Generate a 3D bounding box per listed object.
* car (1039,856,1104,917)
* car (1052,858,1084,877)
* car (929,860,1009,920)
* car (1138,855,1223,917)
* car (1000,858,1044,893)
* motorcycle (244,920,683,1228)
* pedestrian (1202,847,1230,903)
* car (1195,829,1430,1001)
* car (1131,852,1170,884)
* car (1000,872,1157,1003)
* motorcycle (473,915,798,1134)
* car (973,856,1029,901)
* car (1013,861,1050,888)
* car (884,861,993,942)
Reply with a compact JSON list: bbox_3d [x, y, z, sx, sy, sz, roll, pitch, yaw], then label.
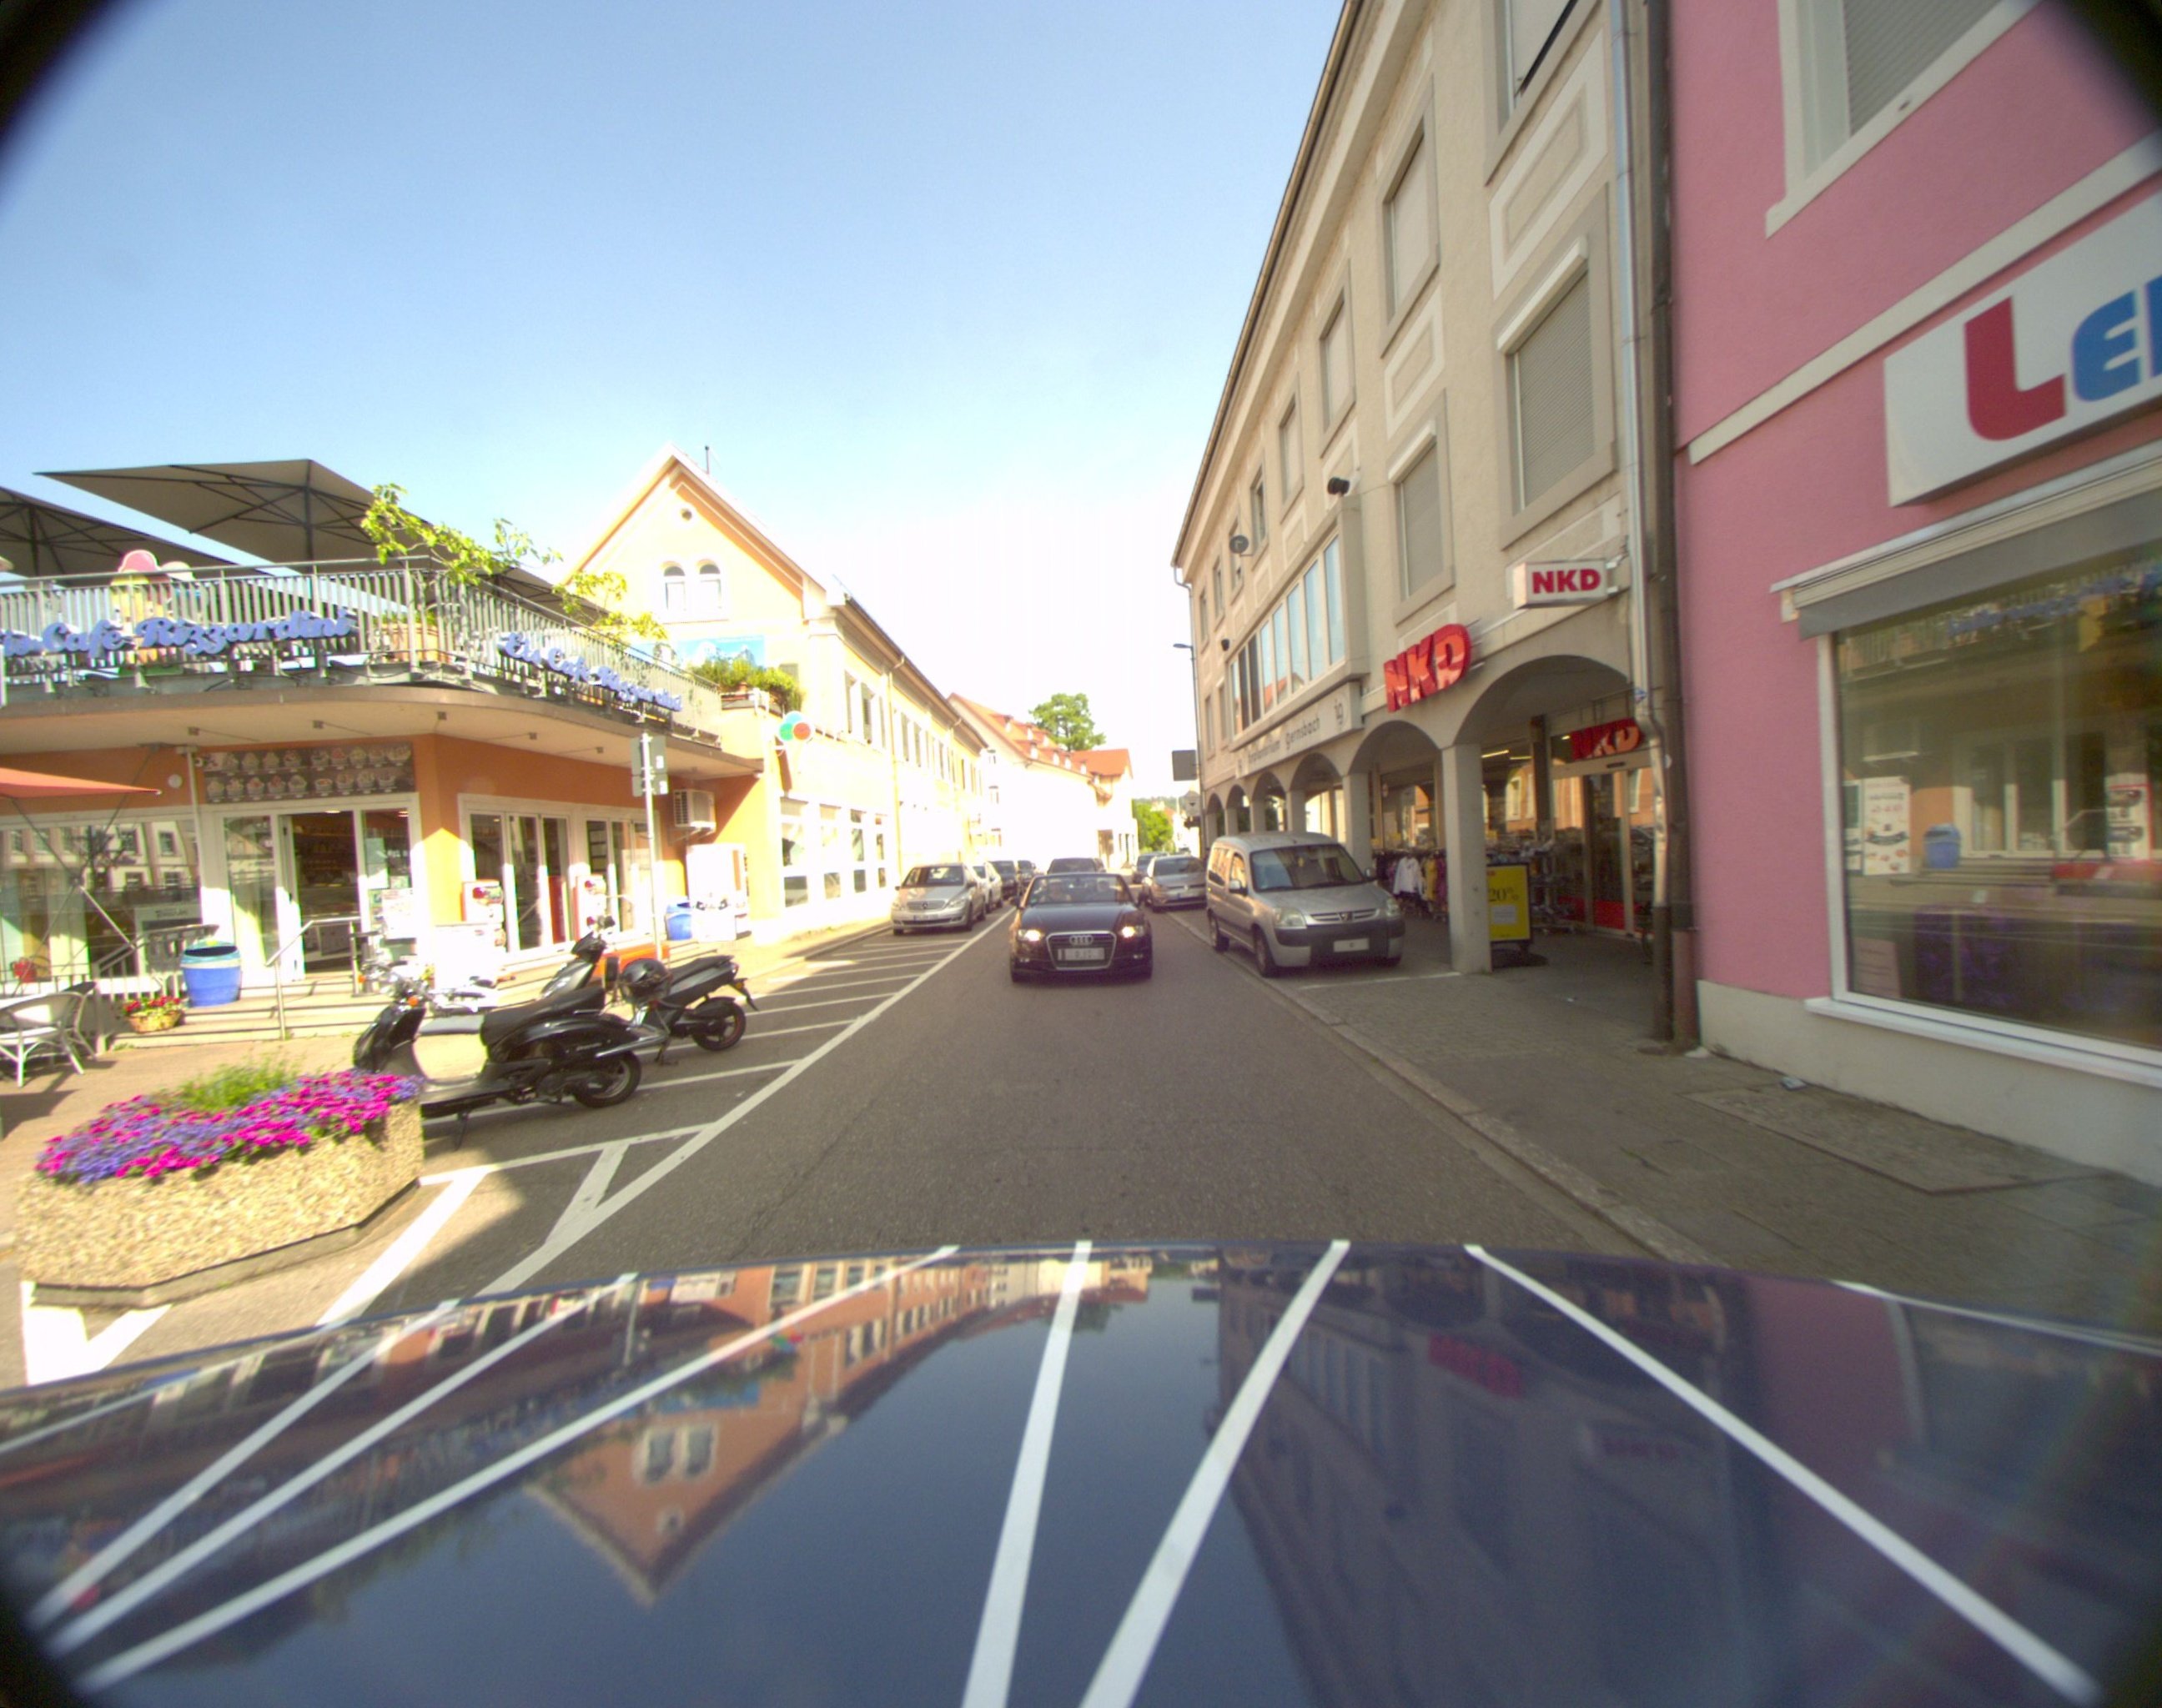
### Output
[{"bbox_3d":[-0.198,0.871,22.411,1.683,1.551,3.971,-3,0,2],"label":"car"},{"bbox_3d":[-0.954,1.008,58.186,1.526,1.237,4.037,-3,0,11],"label":"car"},{"bbox_3d":[-3.398,1.046,23.728,1.683,1.549,4.104,-4,0,2],"label":"car"},{"bbox_3d":[2.693,0.807,21.542,1.807,1.461,4.455,-4,0,1],"label":"car"},{"bbox_3d":[-2.822,1.003,37.072,1.683,1.531,4.186,-2,0,2],"label":"car"},{"bbox_3d":[-3.645,1.190,4.743,1.903,1.350,0.915,-3,1,-34],"label":"motorcycle"},{"bbox_3d":[3.865,0.596,21.819,0.622,1.542,0.534,-4,1,2],"label":"pedestrian"},{"bbox_3d":[2.827,0.663,10.308,1.711,1.729,4.145,-5,0,-1],"label":"car"},{"bbox_3d":[3.690,0.716,40.716,1.769,1.551,3.971,-3,0,2],"label":"car"},{"bbox_3d":[0.032,1.007,10.813,1.755,1.348,4.200,-2,0,2],"label":"car"},{"bbox_3d":[-3.541,1.232,6.149,2.094,1.263,0.927,-3,1,-39],"label":"motorcycle"},{"bbox_3d":[-3.214,0.951,31.238,1.683,1.636,4.251,-2,0,2],"label":"car"},{"bbox_3d":[-2.744,1.115,42.676,1.683,1.311,3.695,-4,0,2],"label":"car"},{"bbox_3d":[-3.307,1.043,18.537,1.750,1.587,4.593,-4,0,-1],"label":"car"}]
